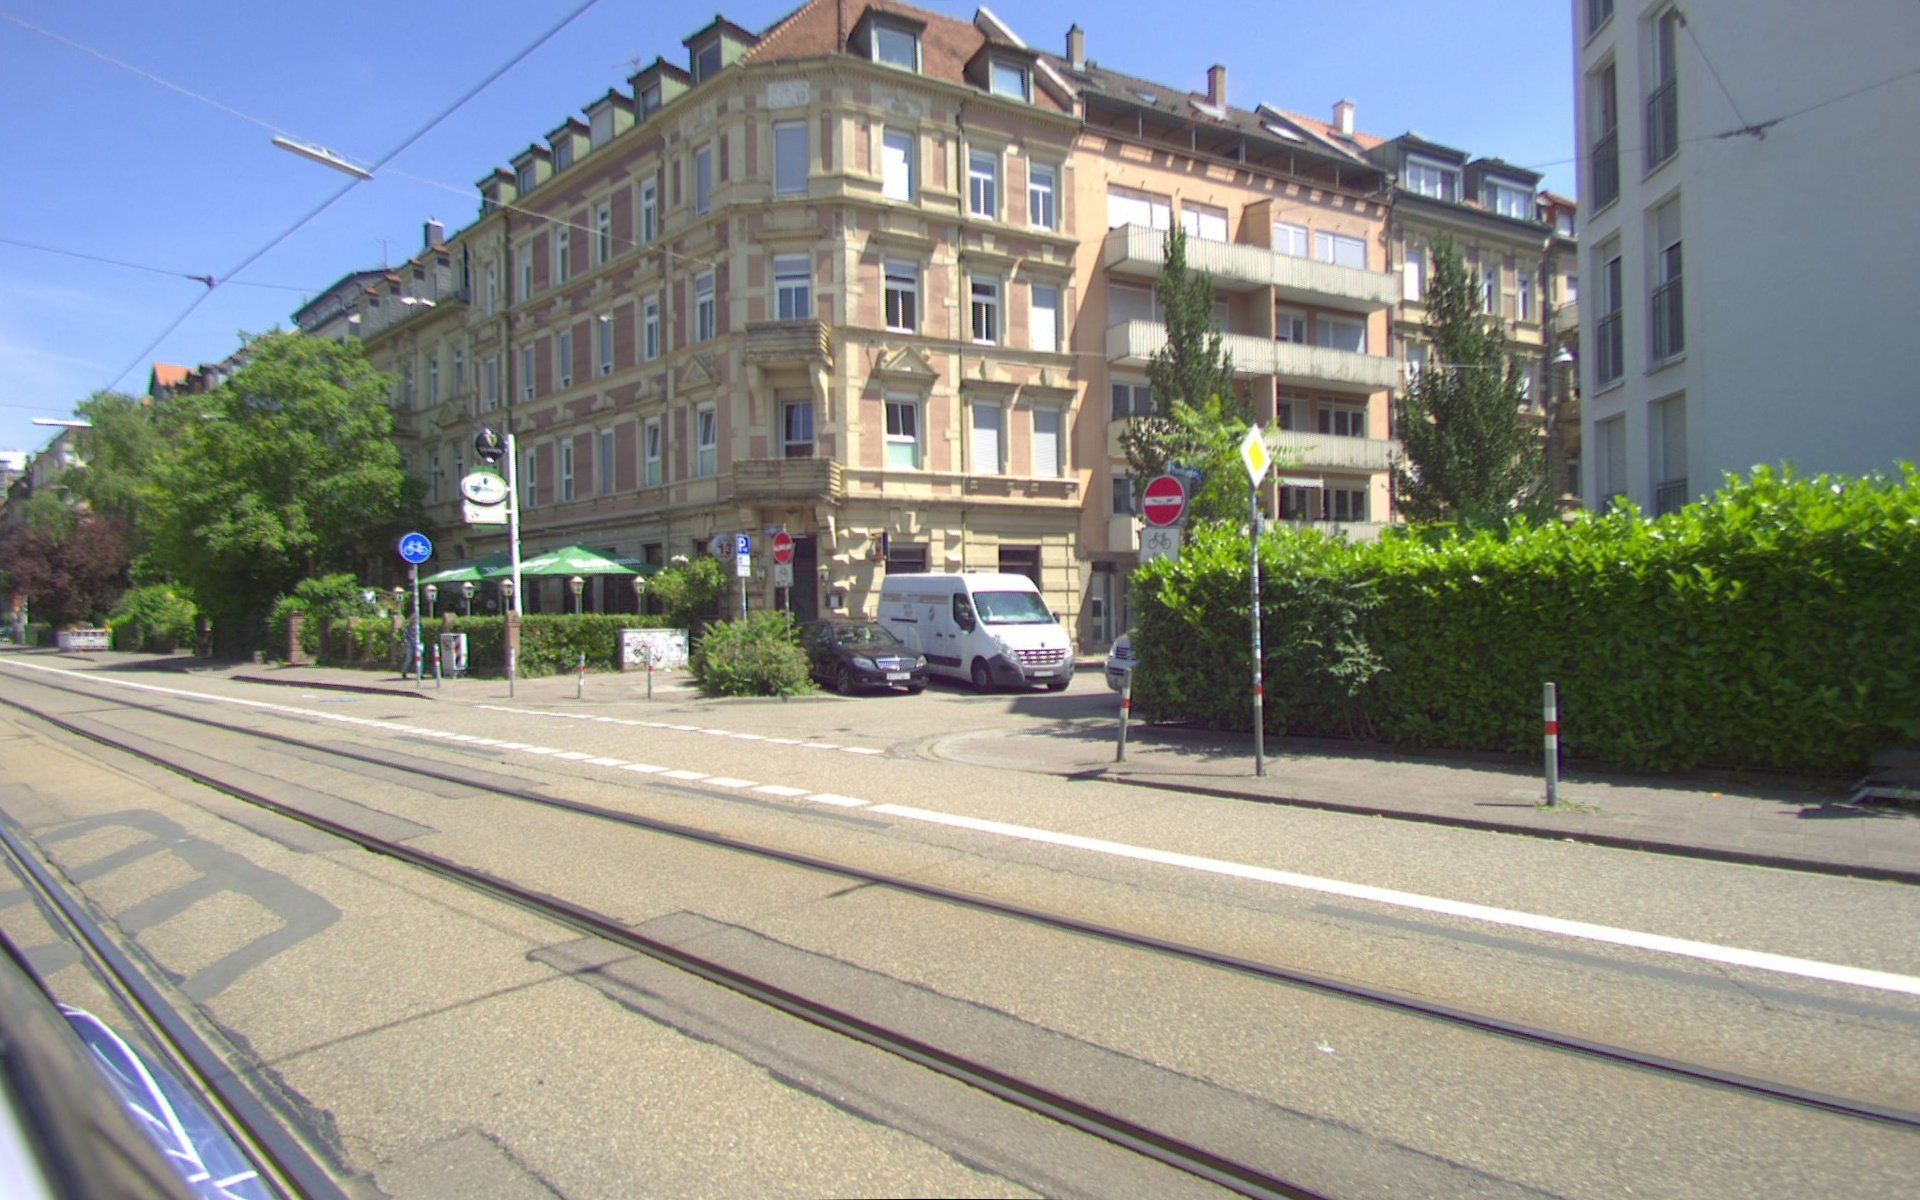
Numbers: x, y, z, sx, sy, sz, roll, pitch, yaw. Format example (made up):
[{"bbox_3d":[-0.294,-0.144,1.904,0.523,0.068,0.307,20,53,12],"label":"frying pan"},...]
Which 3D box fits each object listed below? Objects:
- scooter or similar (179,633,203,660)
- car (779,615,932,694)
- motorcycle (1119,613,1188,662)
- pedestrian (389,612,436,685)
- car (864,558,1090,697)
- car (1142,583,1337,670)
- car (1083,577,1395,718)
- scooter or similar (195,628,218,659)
[{"bbox_3d":[-34.151,2.072,44.944,0.693,1.166,0.610,-2,-4,31],"label":"scooter or similar"},{"bbox_3d":[-2.246,1.063,20.921,1.568,1.449,3.767,0,-1,-33],"label":"car"},{"bbox_3d":[5.752,1.105,30.074,2.048,1.368,0.616,-1,-1,-29],"label":"motorcycle"},{"bbox_3d":[-12.835,1.125,23.728,0.940,1.654,0.732,-2,-2,44],"label":"pedestrian"},{"bbox_3d":[0.119,0.574,22.248,2.089,2.609,6.208,0,-1,-29],"label":"car"},{"bbox_3d":[7.325,0.689,27.079,2.089,2.105,4.962,0,-1,-29],"label":"car"},{"bbox_3d":[4.548,0.686,16.465,4.624,2.000,2.163,0,-1,-28],"label":"car"},{"bbox_3d":[-34.481,1.991,46.306,0.693,1.410,0.610,-2,-1,31],"label":"scooter or similar"}]
